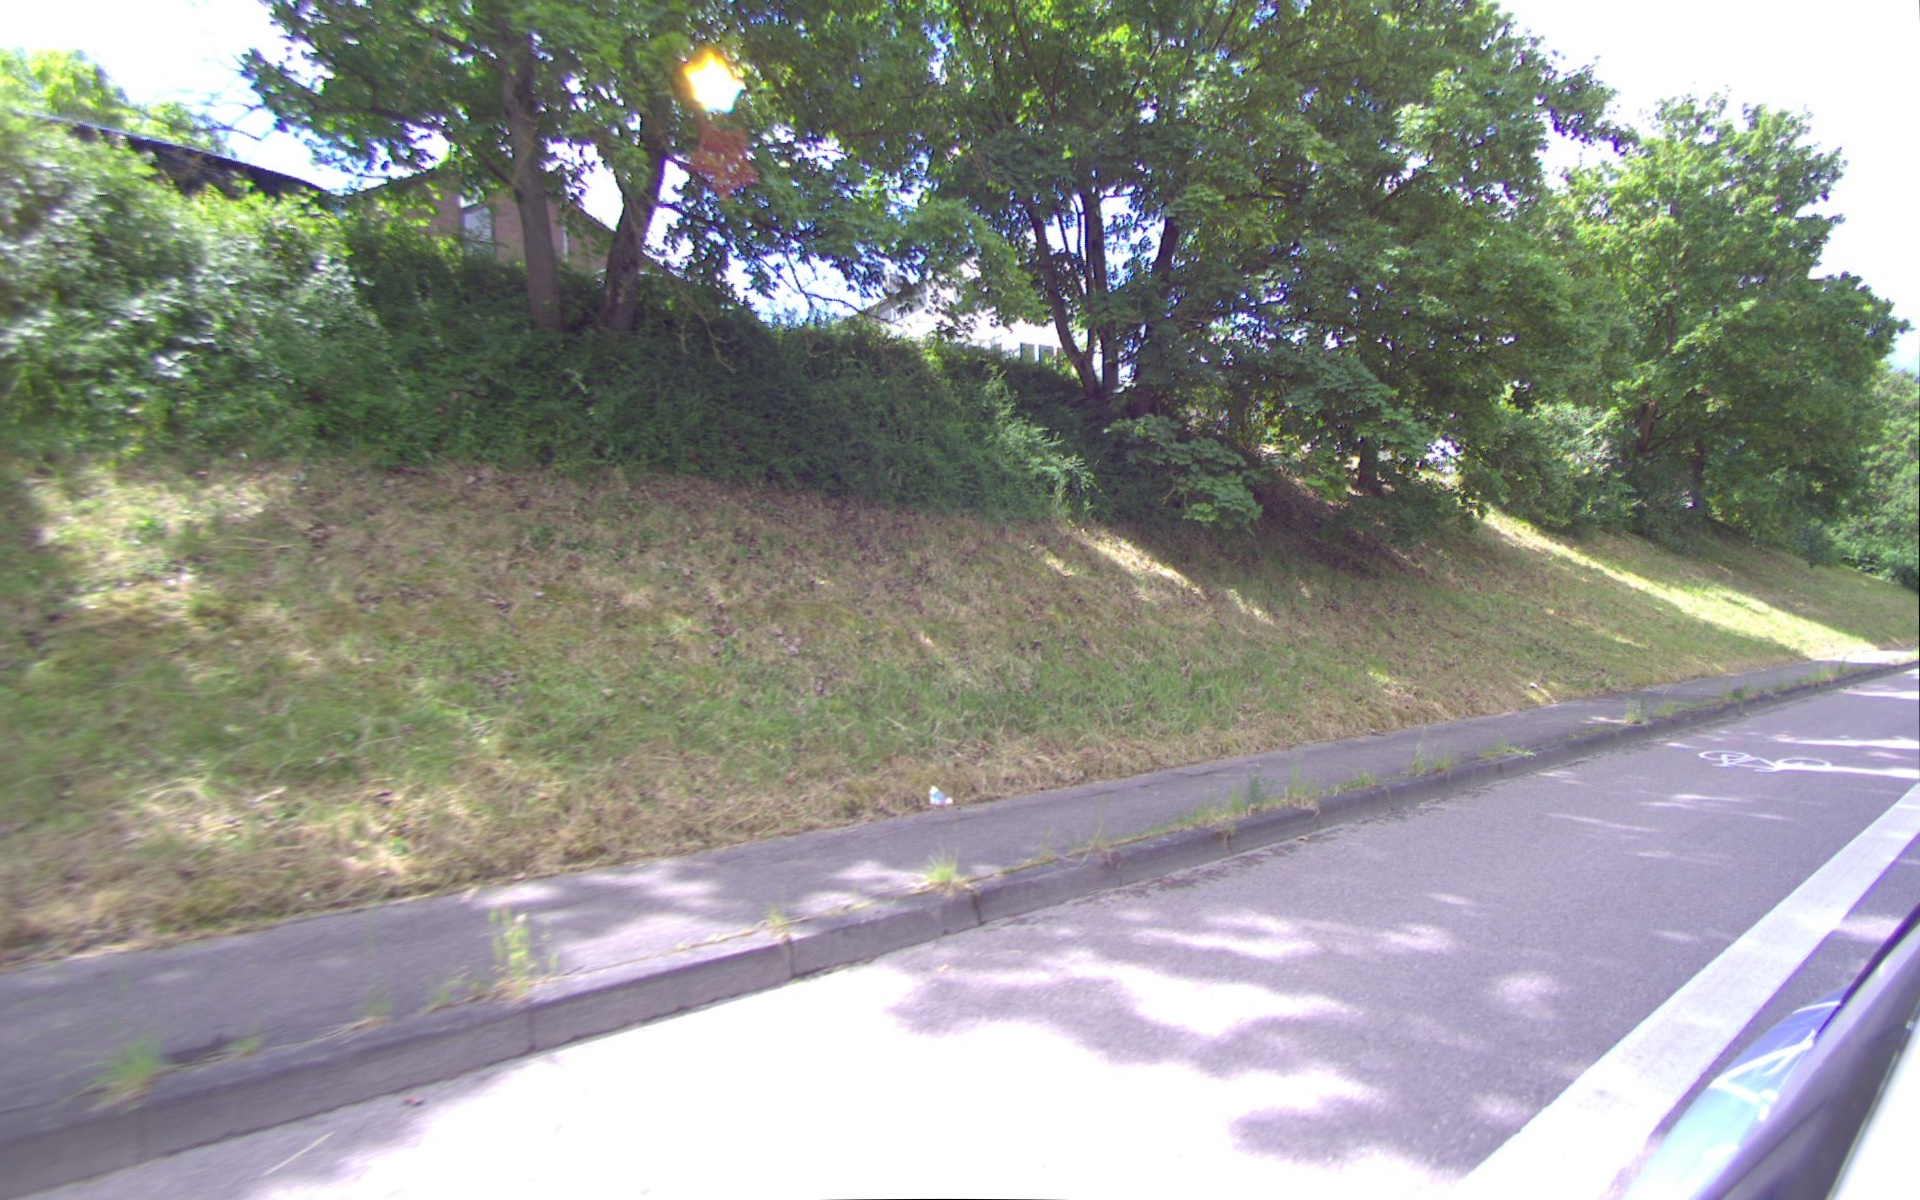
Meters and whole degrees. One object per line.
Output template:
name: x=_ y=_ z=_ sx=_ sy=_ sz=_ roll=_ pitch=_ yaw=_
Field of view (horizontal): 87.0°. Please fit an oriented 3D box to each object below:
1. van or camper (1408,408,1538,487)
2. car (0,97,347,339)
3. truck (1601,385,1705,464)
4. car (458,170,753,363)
van or camper: x=19.017 y=-5.507 z=37.370 sx=6.055 sy=2.096 sz=2.220 roll=0 pitch=0 yaw=-41
car: x=-9.756 y=-4.459 z=12.082 sx=3.972 sy=1.709 sz=1.647 roll=0 pitch=0 yaw=-41
truck: x=33.052 y=-8.239 z=48.164 sx=6.916 sy=2.692 sz=2.354 roll=0 pitch=0 yaw=-41
car: x=-5.358 y=-4.944 z=15.562 sx=3.972 sy=1.709 sz=1.647 roll=0 pitch=0 yaw=-41
